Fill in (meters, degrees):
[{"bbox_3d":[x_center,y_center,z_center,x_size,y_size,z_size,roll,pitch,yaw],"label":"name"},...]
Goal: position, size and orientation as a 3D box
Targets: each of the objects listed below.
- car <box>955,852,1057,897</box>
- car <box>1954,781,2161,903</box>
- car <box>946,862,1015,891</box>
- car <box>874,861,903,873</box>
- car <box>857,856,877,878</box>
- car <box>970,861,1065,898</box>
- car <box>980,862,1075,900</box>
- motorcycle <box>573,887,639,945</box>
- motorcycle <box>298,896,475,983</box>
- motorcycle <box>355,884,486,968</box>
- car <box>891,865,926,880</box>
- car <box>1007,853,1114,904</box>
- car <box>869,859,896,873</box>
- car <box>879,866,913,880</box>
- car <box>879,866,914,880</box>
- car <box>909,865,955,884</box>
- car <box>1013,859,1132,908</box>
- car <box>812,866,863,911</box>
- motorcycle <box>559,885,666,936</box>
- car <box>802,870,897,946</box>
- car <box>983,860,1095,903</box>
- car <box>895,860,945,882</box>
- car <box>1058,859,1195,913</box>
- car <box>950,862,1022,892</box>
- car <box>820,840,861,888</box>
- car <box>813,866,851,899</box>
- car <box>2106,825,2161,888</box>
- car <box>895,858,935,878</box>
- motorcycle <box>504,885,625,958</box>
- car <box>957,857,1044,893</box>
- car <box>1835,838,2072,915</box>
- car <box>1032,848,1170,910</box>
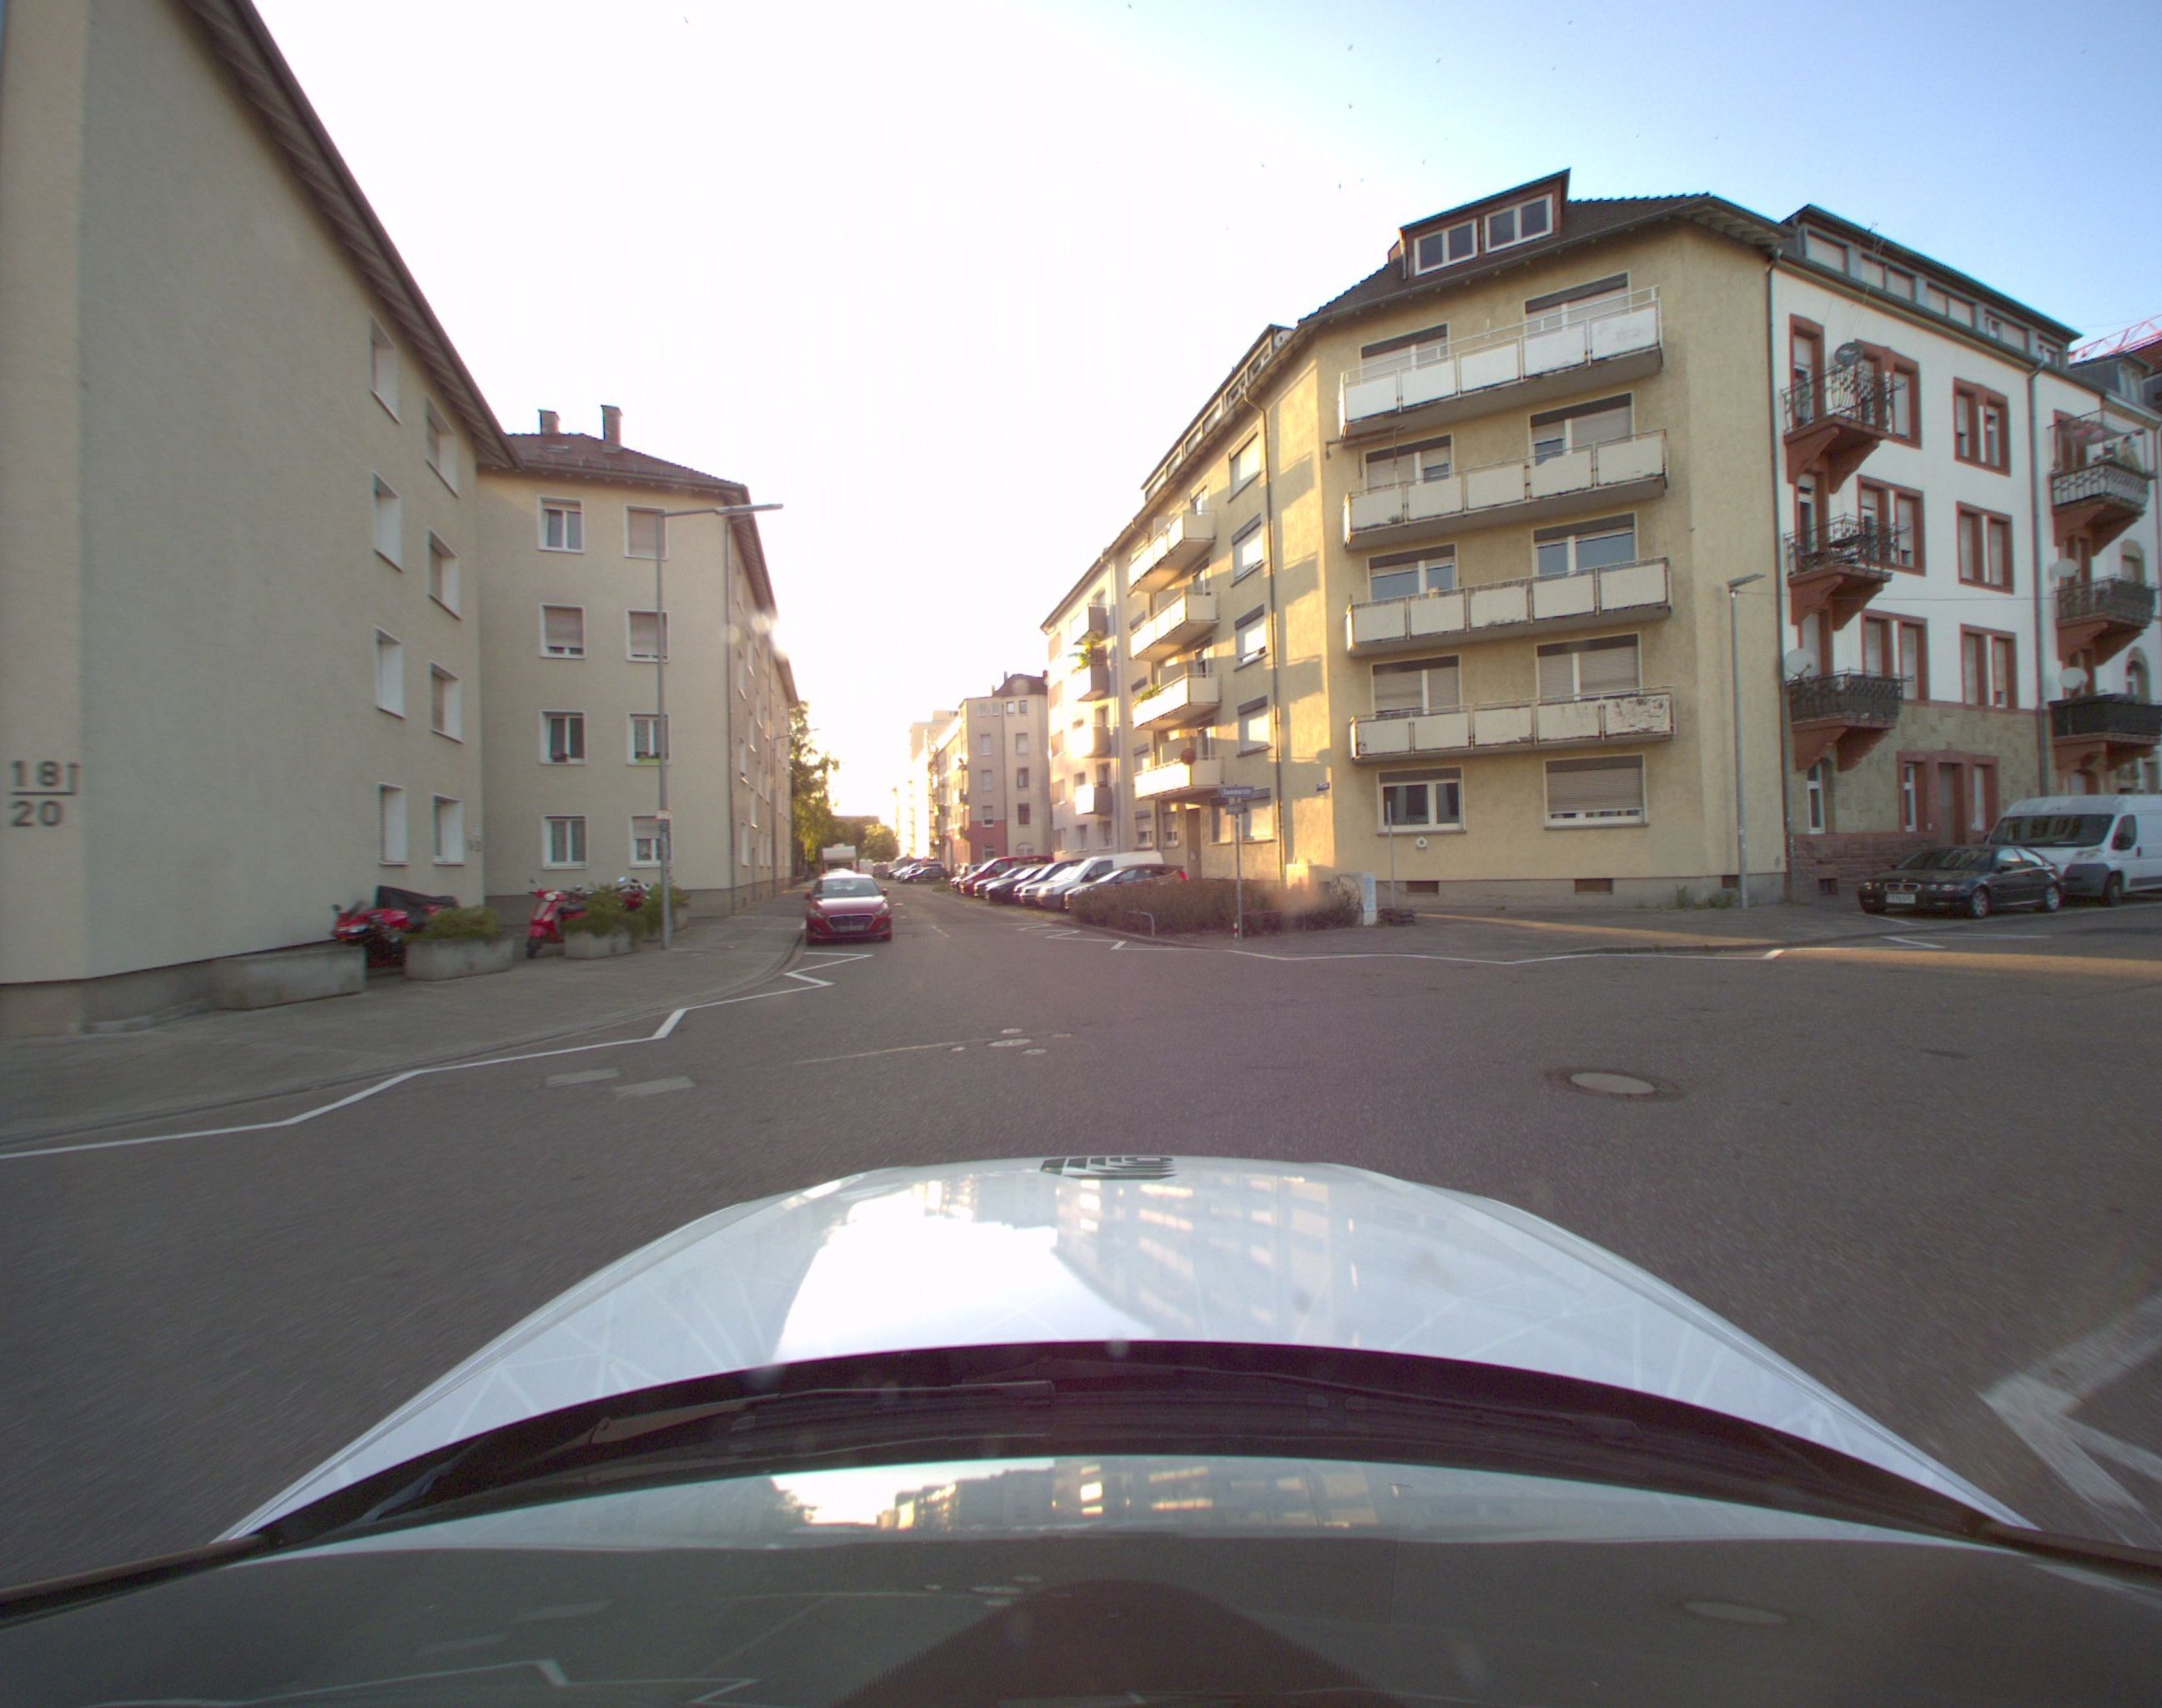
[{"bbox_3d":[-3.788,1.016,41.174,4.735,1.909,2.047,-3,-1,-18],"label":"car"},{"bbox_3d":[23.489,-0.331,18.988,6.039,2.530,2.217,-1,1,-21],"label":"car"},{"bbox_3d":[-5.997,1.337,48.682,3.822,1.428,1.624,-3,-1,-18],"label":"car"},{"bbox_3d":[-29.029,1.921,122.693,3.998,1.530,1.649,-3,0,-18],"label":"car"},{"bbox_3d":[-27.917,1.680,106.147,2.135,2.717,4.803,-3,0,-18],"label":"car"},{"bbox_3d":[-3.030,1.181,38.733,4.156,1.471,1.626,-3,-1,-18],"label":"car"},{"bbox_3d":[-2.382,1.197,36.332,3.887,1.416,1.626,-3,-1,-19],"label":"car"},{"bbox_3d":[-9.955,1.277,17.150,0.683,1.079,2.023,-1,-1,-15],"label":"motorcycle"},{"bbox_3d":[-10.171,1.212,12.061,0.720,1.079,2.083,-2,-1,4],"label":"motorcycle"},{"bbox_3d":[-11.300,1.189,14.032,0.722,1.265,2.076,-1,-1,-6],"label":"motorcycle"},{"bbox_3d":[-20.954,2.233,98.968,3.998,1.530,1.649,-3,0,-18],"label":"car"},{"bbox_3d":[-0.814,0.940,31.601,3.800,1.695,1.645,-3,-1,-17],"label":"car"},{"bbox_3d":[-37.805,2.187,154.780,4.826,2.408,1.728,-3,0,-18],"label":"car"},{"bbox_3d":[-23.389,2.363,102.797,3.998,1.530,1.649,-3,0,-18],"label":"car"},{"bbox_3d":[-22.818,2.327,100.801,3.998,1.530,1.649,-3,0,-18],"label":"car"},{"bbox_3d":[-13.920,1.862,75.876,3.998,1.530,1.649,-3,0,-18],"label":"car"},{"bbox_3d":[-0.324,1.036,29.299,3.965,1.522,1.696,-2,-1,-17],"label":"car"},{"bbox_3d":[-8.999,1.235,29.938,1.620,1.473,3.483,-3,0,-18],"label":"car"},{"bbox_3d":[-10.997,1.319,19.148,2.120,1.105,0.559,-1,-1,-6],"label":"motorcycle"},{"bbox_3d":[-5.372,1.141,18.697,1.850,1.473,4.052,-2,-1,-18],"label":"car"},{"bbox_3d":[-1.742,1.126,33.558,4.319,1.449,1.645,-3,-1,-17],"label":"car"},{"bbox_3d":[-16.290,1.704,82.413,4.826,1.968,1.728,-3,0,-18],"label":"car"},{"bbox_3d":[1.401,0.962,25.394,3.881,1.492,1.731,-2,-1,-17],"label":"car"},{"bbox_3d":[-5.402,1.312,46.245,3.822,1.428,1.624,-3,-1,-18],"label":"car"},{"bbox_3d":[-18.235,0.760,61.841,2.626,3.269,7.653,-3,0,-16],"label":"car"},{"bbox_3d":[-12.359,1.383,40.350,1.658,1.434,3.772,-3,0,-18],"label":"car"},{"bbox_3d":[29.482,0.022,21.207,4.610,1.567,2.217,-1,1,-21],"label":"car"},{"bbox_3d":[-17.996,1.515,88.315,4.001,2.014,1.986,-2,-1,-21],"label":"car"},{"bbox_3d":[-9.350,1.185,14.857,0.685,1.160,2.038,-2,-1,8],"label":"motorcycle"},{"bbox_3d":[-4.359,1.143,44.015,4.336,1.637,1.807,-3,-1,-18],"label":"car"},{"bbox_3d":[17.828,0.385,16.672,4.002,1.371,1.986,-1,1,-21],"label":"car"},{"bbox_3d":[0.661,0.816,27.447,4.290,1.860,1.731,-1,-1,-17],"label":"car"}]
